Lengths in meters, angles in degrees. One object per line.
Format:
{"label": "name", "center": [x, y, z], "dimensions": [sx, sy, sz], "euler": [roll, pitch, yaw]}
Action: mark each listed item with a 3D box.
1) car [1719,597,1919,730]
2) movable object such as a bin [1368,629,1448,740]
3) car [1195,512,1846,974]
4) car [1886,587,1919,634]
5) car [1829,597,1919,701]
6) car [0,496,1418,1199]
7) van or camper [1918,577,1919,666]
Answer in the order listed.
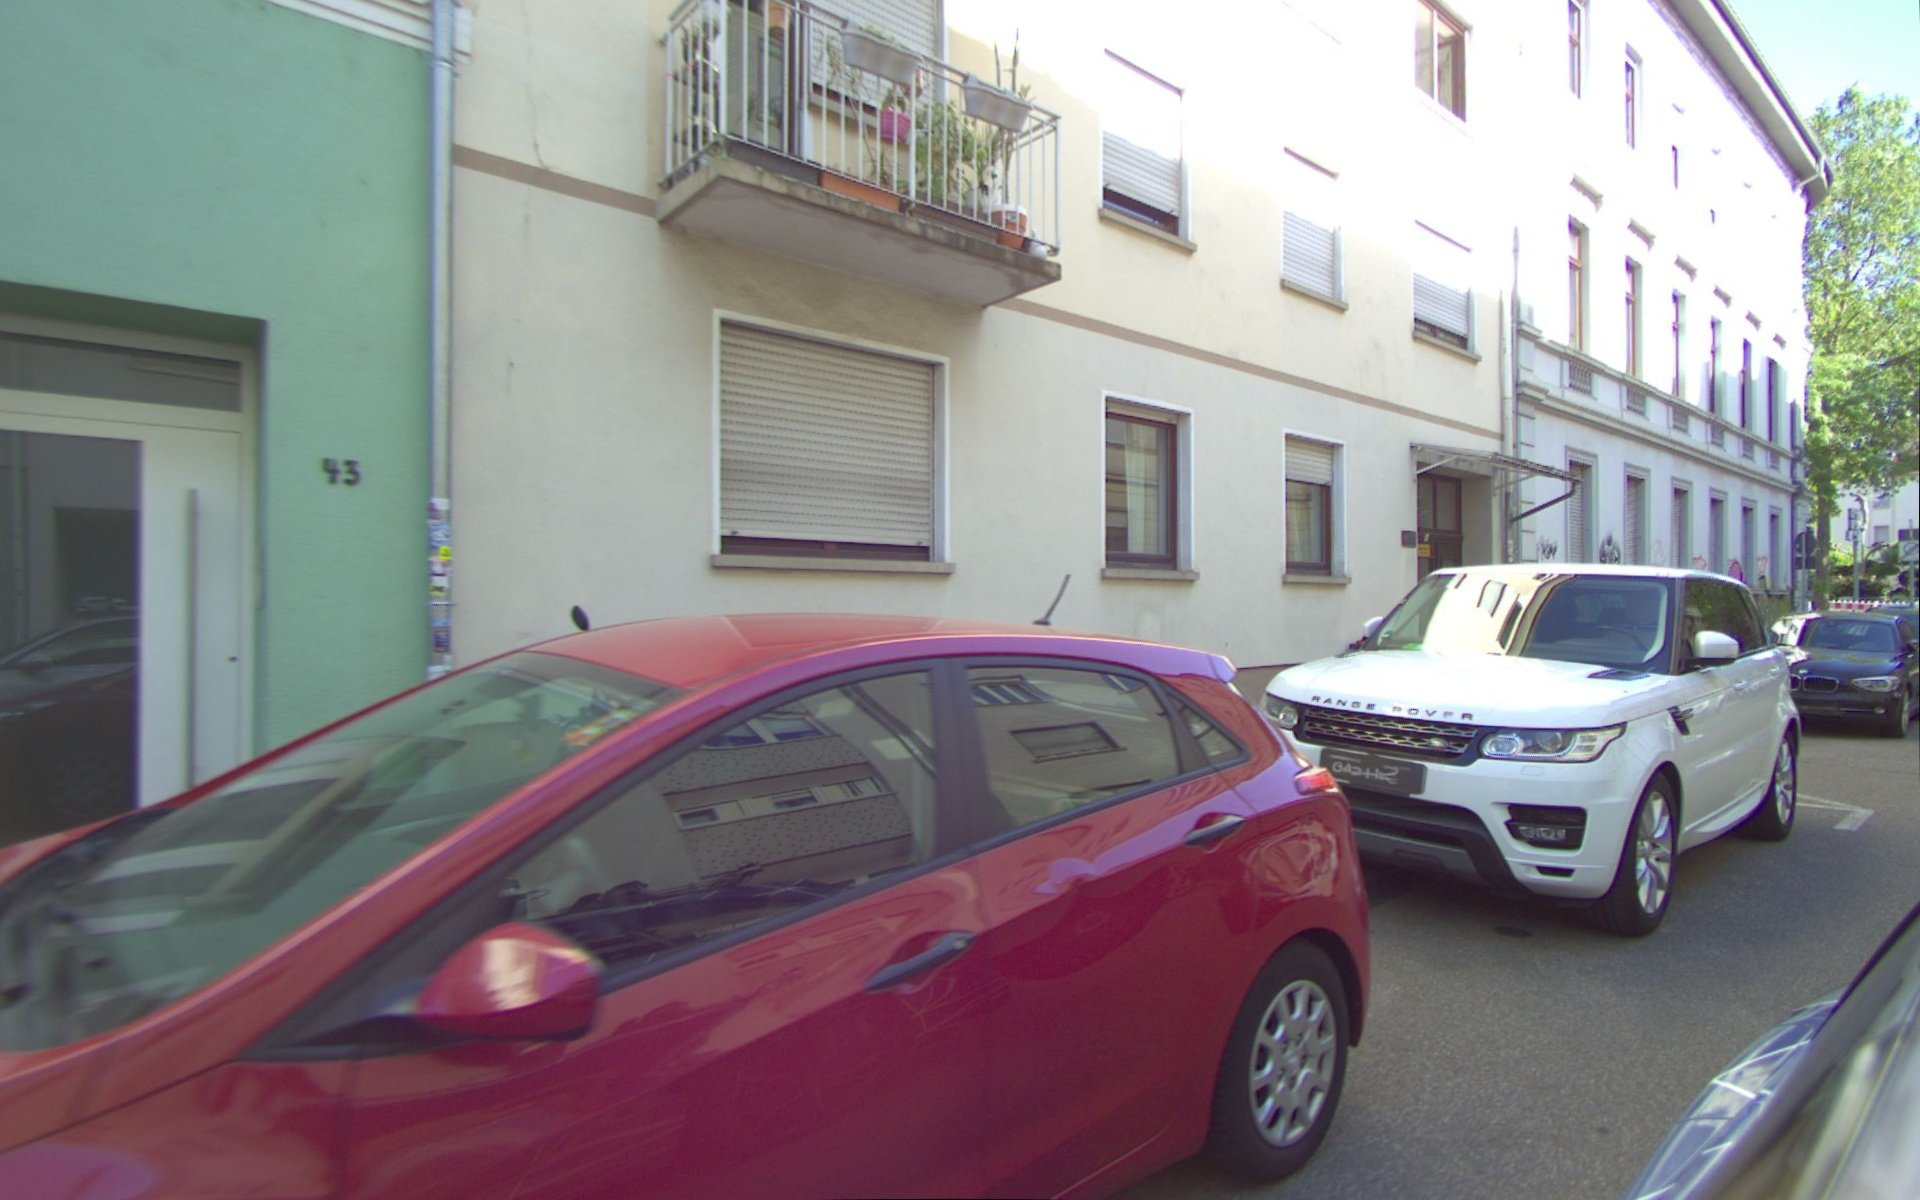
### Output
{"label": "car", "center": [11.457, 0.746, 13.140], "dimensions": [3.801, 1.467, 1.749], "euler": [0, -3, -41]}
{"label": "movable object such as a bin", "center": [4.683, 0.862, 10.579], "dimensions": [0.542, 1.084, 0.579], "euler": [0, 0, -37]}
{"label": "car", "center": [3.763, 0.573, 6.328], "dimensions": [4.852, 1.806, 2.009], "euler": [0, -1, -41]}
{"label": "car", "center": [35.922, 0.375, 35.758], "dimensions": [1.971, 1.725, 4.507], "euler": [0, -1, -6]}
{"label": "car", "center": [15.975, 0.739, 16.650], "dimensions": [4.644, 1.539, 1.817], "euler": [0, -3, -41]}
{"label": "car", "center": [-0.680, 0.696, 2.420], "dimensions": [3.961, 1.589, 1.745], "euler": [0, -1, -41]}
{"label": "van or camper", "center": [24.399, 0.485, 24.134], "dimensions": [4.945, 2.039, 1.896], "euler": [0, -1, -42]}
